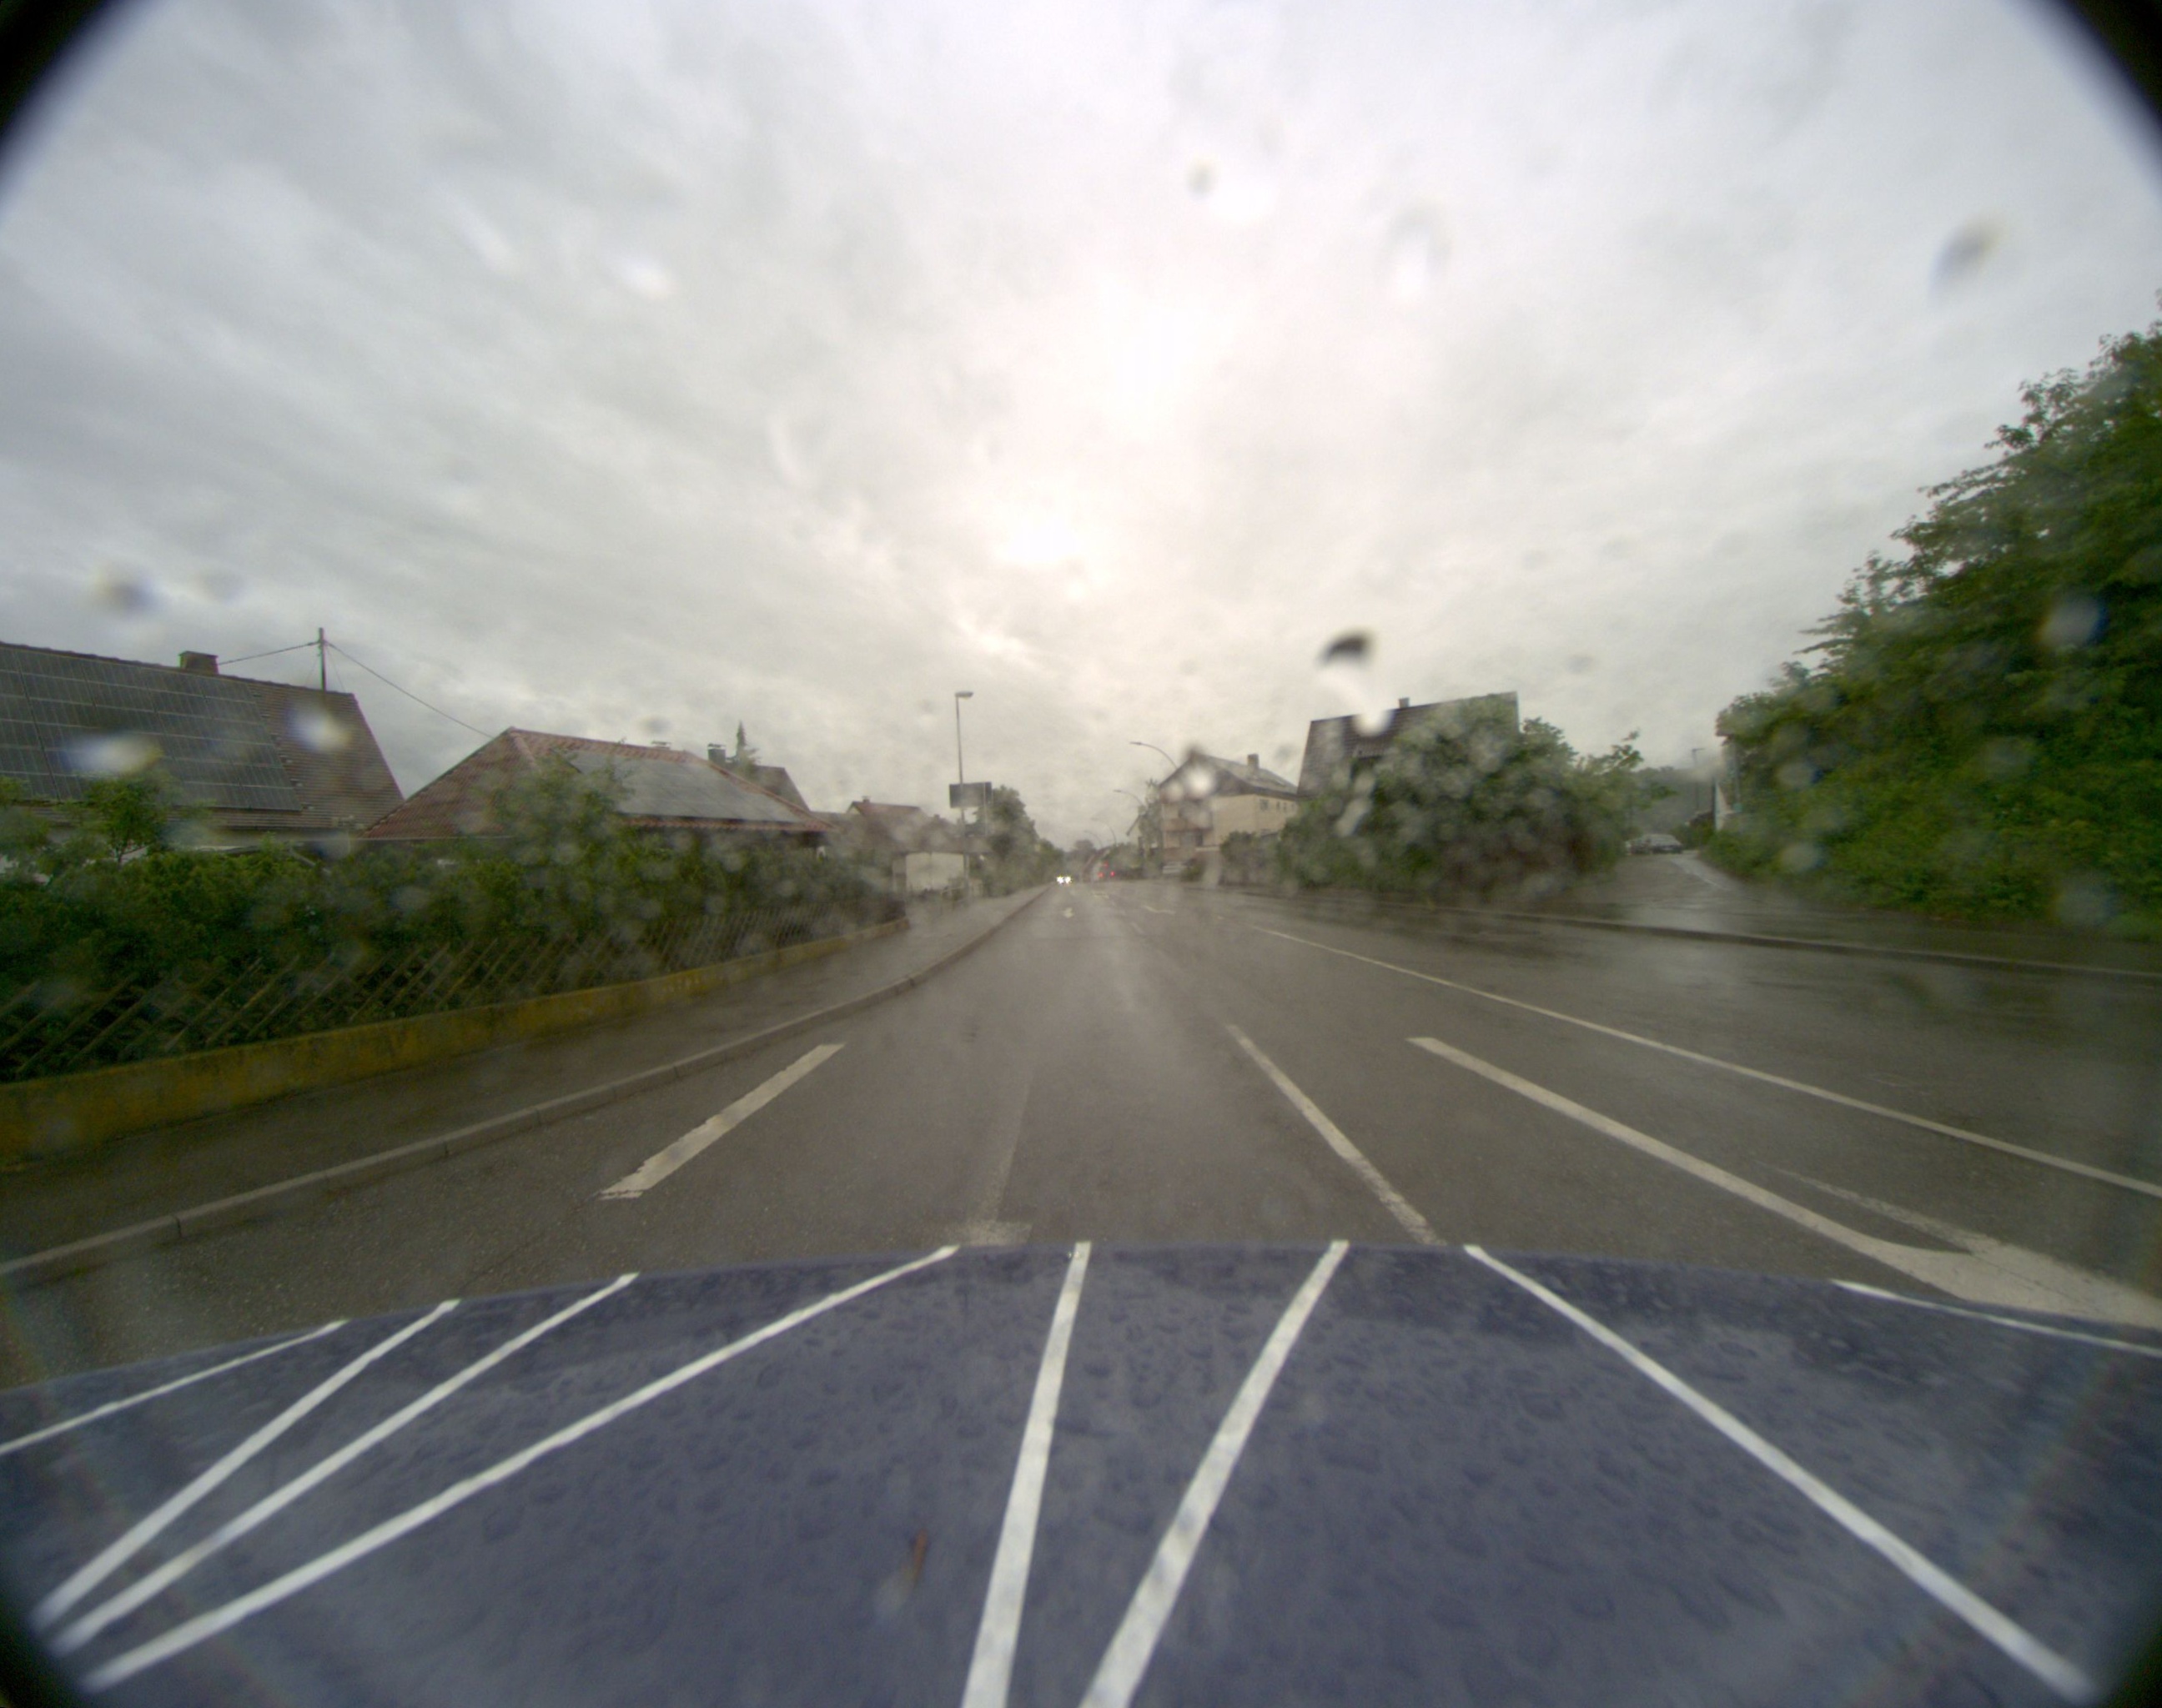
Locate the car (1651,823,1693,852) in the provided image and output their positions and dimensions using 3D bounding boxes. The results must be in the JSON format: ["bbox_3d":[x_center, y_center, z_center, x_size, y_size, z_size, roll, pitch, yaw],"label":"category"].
[{"bbox_3d":[41.128,-1.147,52.852,1.995,1.848,4.008,-3,0,41],"label":"car"}]

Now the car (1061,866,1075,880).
[{"bbox_3d":[-2.046,3.078,123.615,1.998,2.002,4.000,-3,0,1],"label":"car"}]

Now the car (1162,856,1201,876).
[{"bbox_3d":[8.914,1.062,67.050,1.864,1.510,4.007,-3,0,32],"label":"car"}]

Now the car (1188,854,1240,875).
[{"bbox_3d":[10.672,0.850,61.238,3.661,1.510,1.758,-3,0,35],"label":"car"}]

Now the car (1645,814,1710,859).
[{"bbox_3d":[22.967,-0.683,29.214,1.706,1.579,3.669,-2,0,42],"label":"car"}]

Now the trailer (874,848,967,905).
[{"bbox_3d":[-7.717,1.031,36.969,1.645,2.502,4.712,-3,-1,29],"label":"trailer"}]
